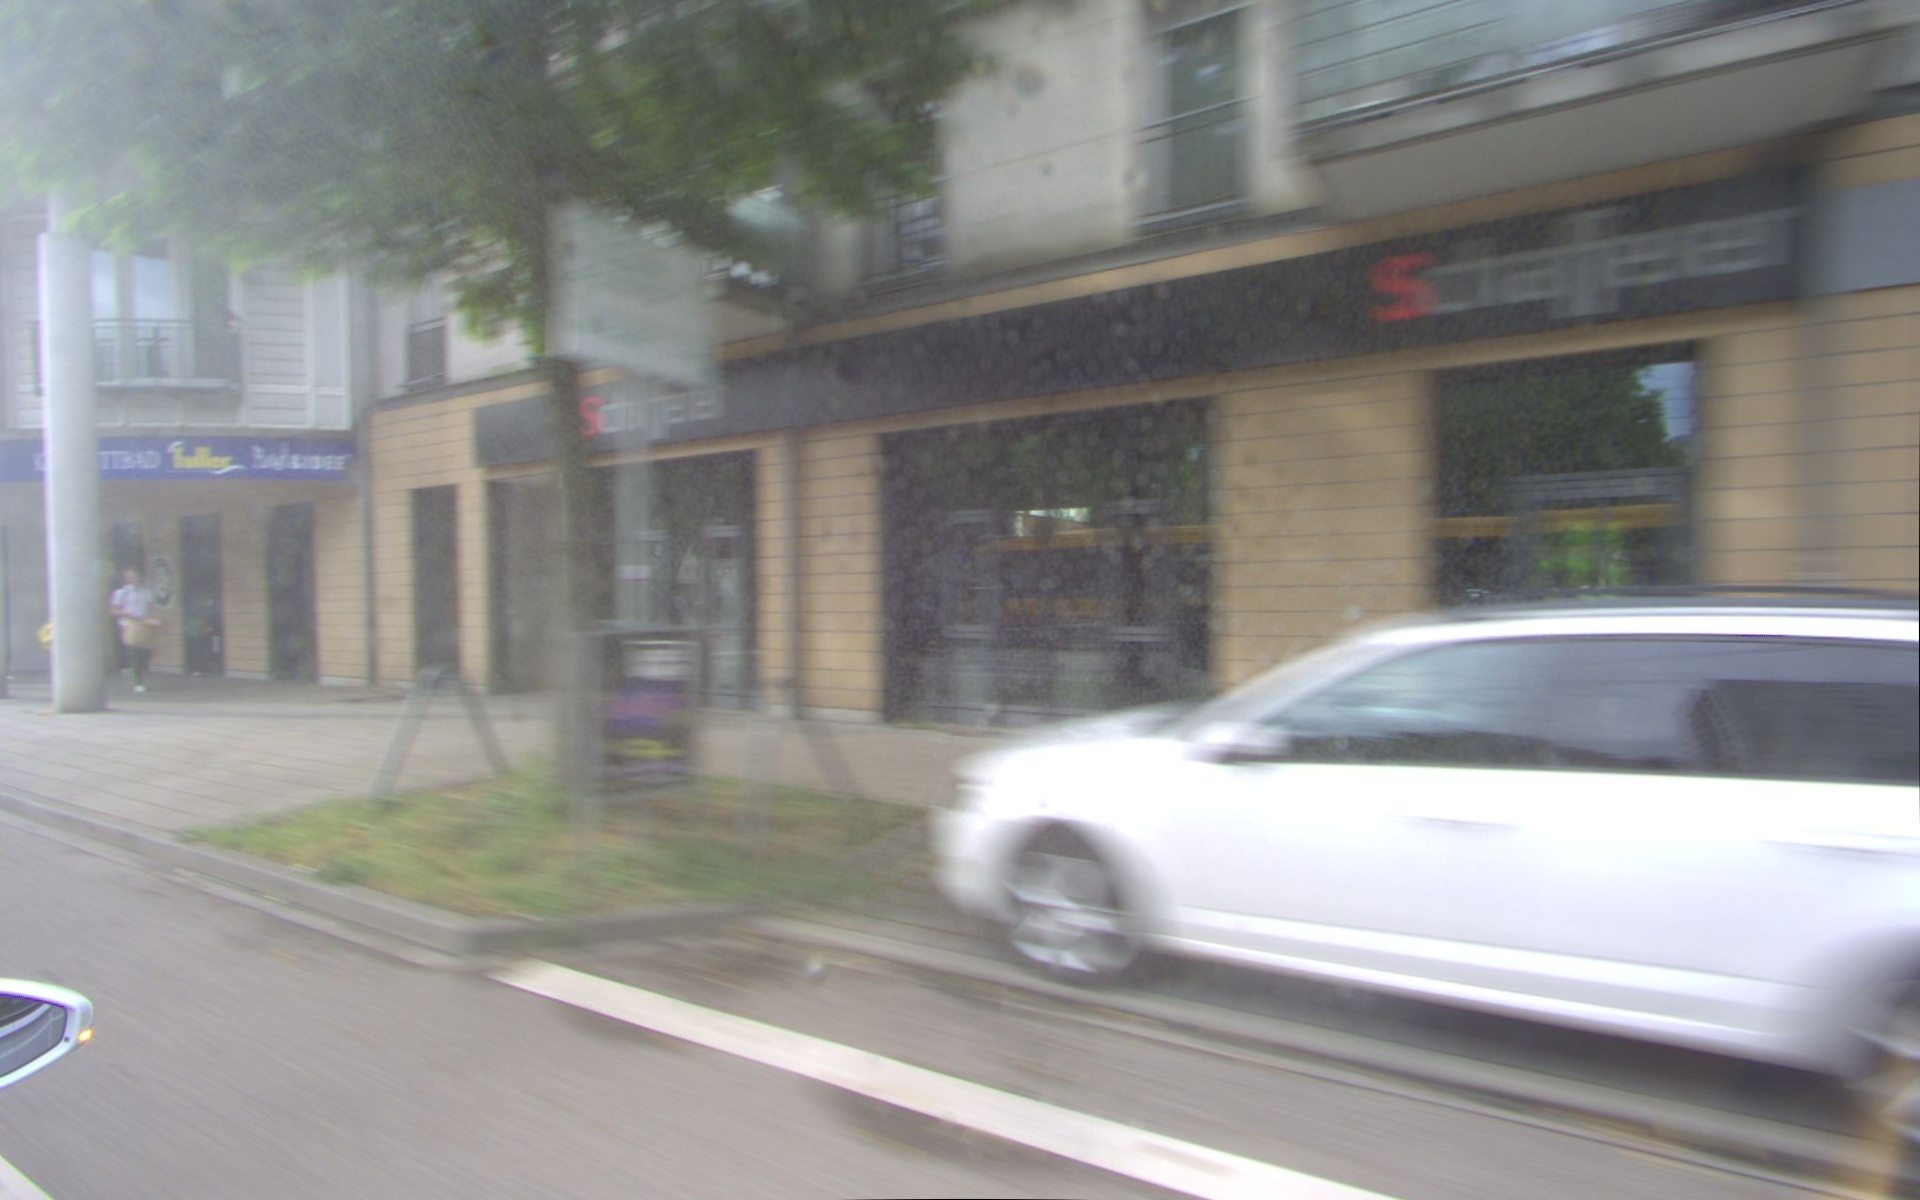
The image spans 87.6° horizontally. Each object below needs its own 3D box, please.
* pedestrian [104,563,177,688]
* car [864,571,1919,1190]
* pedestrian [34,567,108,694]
[{"bbox_3d":[-12.937,0.381,15.811,0.727,1.916,0.673,0,2,33],"label":"pedestrian"},{"bbox_3d":[1.861,0.703,3.858,4.328,1.519,1.671,0,3,33],"label":"car"},{"bbox_3d":[-13.160,0.431,14.825,0.727,1.830,0.614,0,2,33],"label":"pedestrian"}]
